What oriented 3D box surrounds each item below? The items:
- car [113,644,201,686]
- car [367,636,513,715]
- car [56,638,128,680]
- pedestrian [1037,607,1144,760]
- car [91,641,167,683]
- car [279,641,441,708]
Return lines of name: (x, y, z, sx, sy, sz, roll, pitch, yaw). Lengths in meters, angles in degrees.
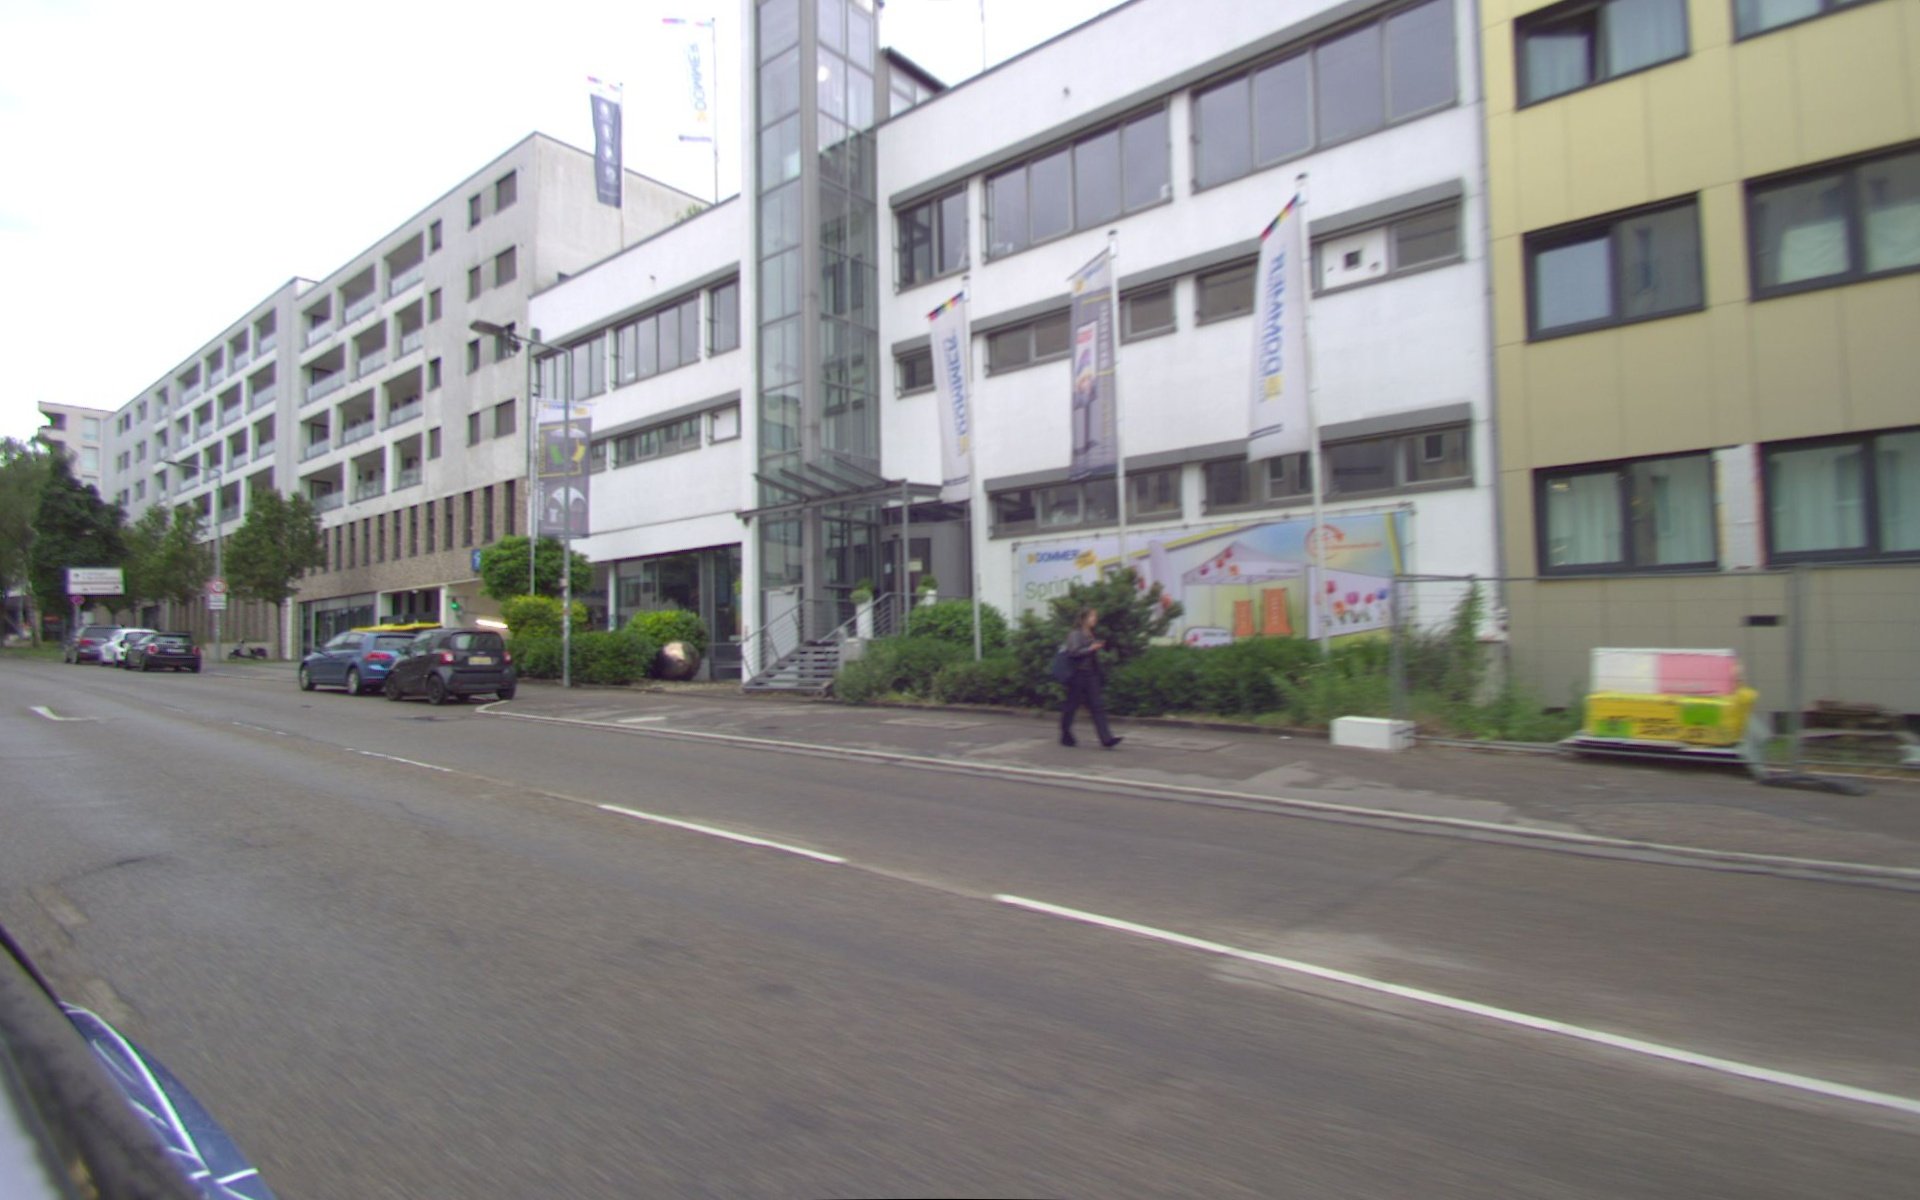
car: (-29.129, 2.345, 36.684, 3.735, 1.402, 1.641, -1, -4, 38)
car: (-10.990, 1.562, 21.368, 2.975, 1.521, 1.501, -1, -4, 36)
car: (-36.649, 2.469, 42.706, 3.969, 1.630, 1.609, -1, -5, 40)
pedestrian: (1.527, 0.931, 11.841, 0.968, 1.689, 0.759, -1, 0, 41)
car: (-32.636, 2.416, 39.706, 3.419, 1.479, 1.577, -1, -5, 39)
car: (-14.182, 1.708, 23.848, 4.260, 1.414, 1.641, -1, -4, 36)
